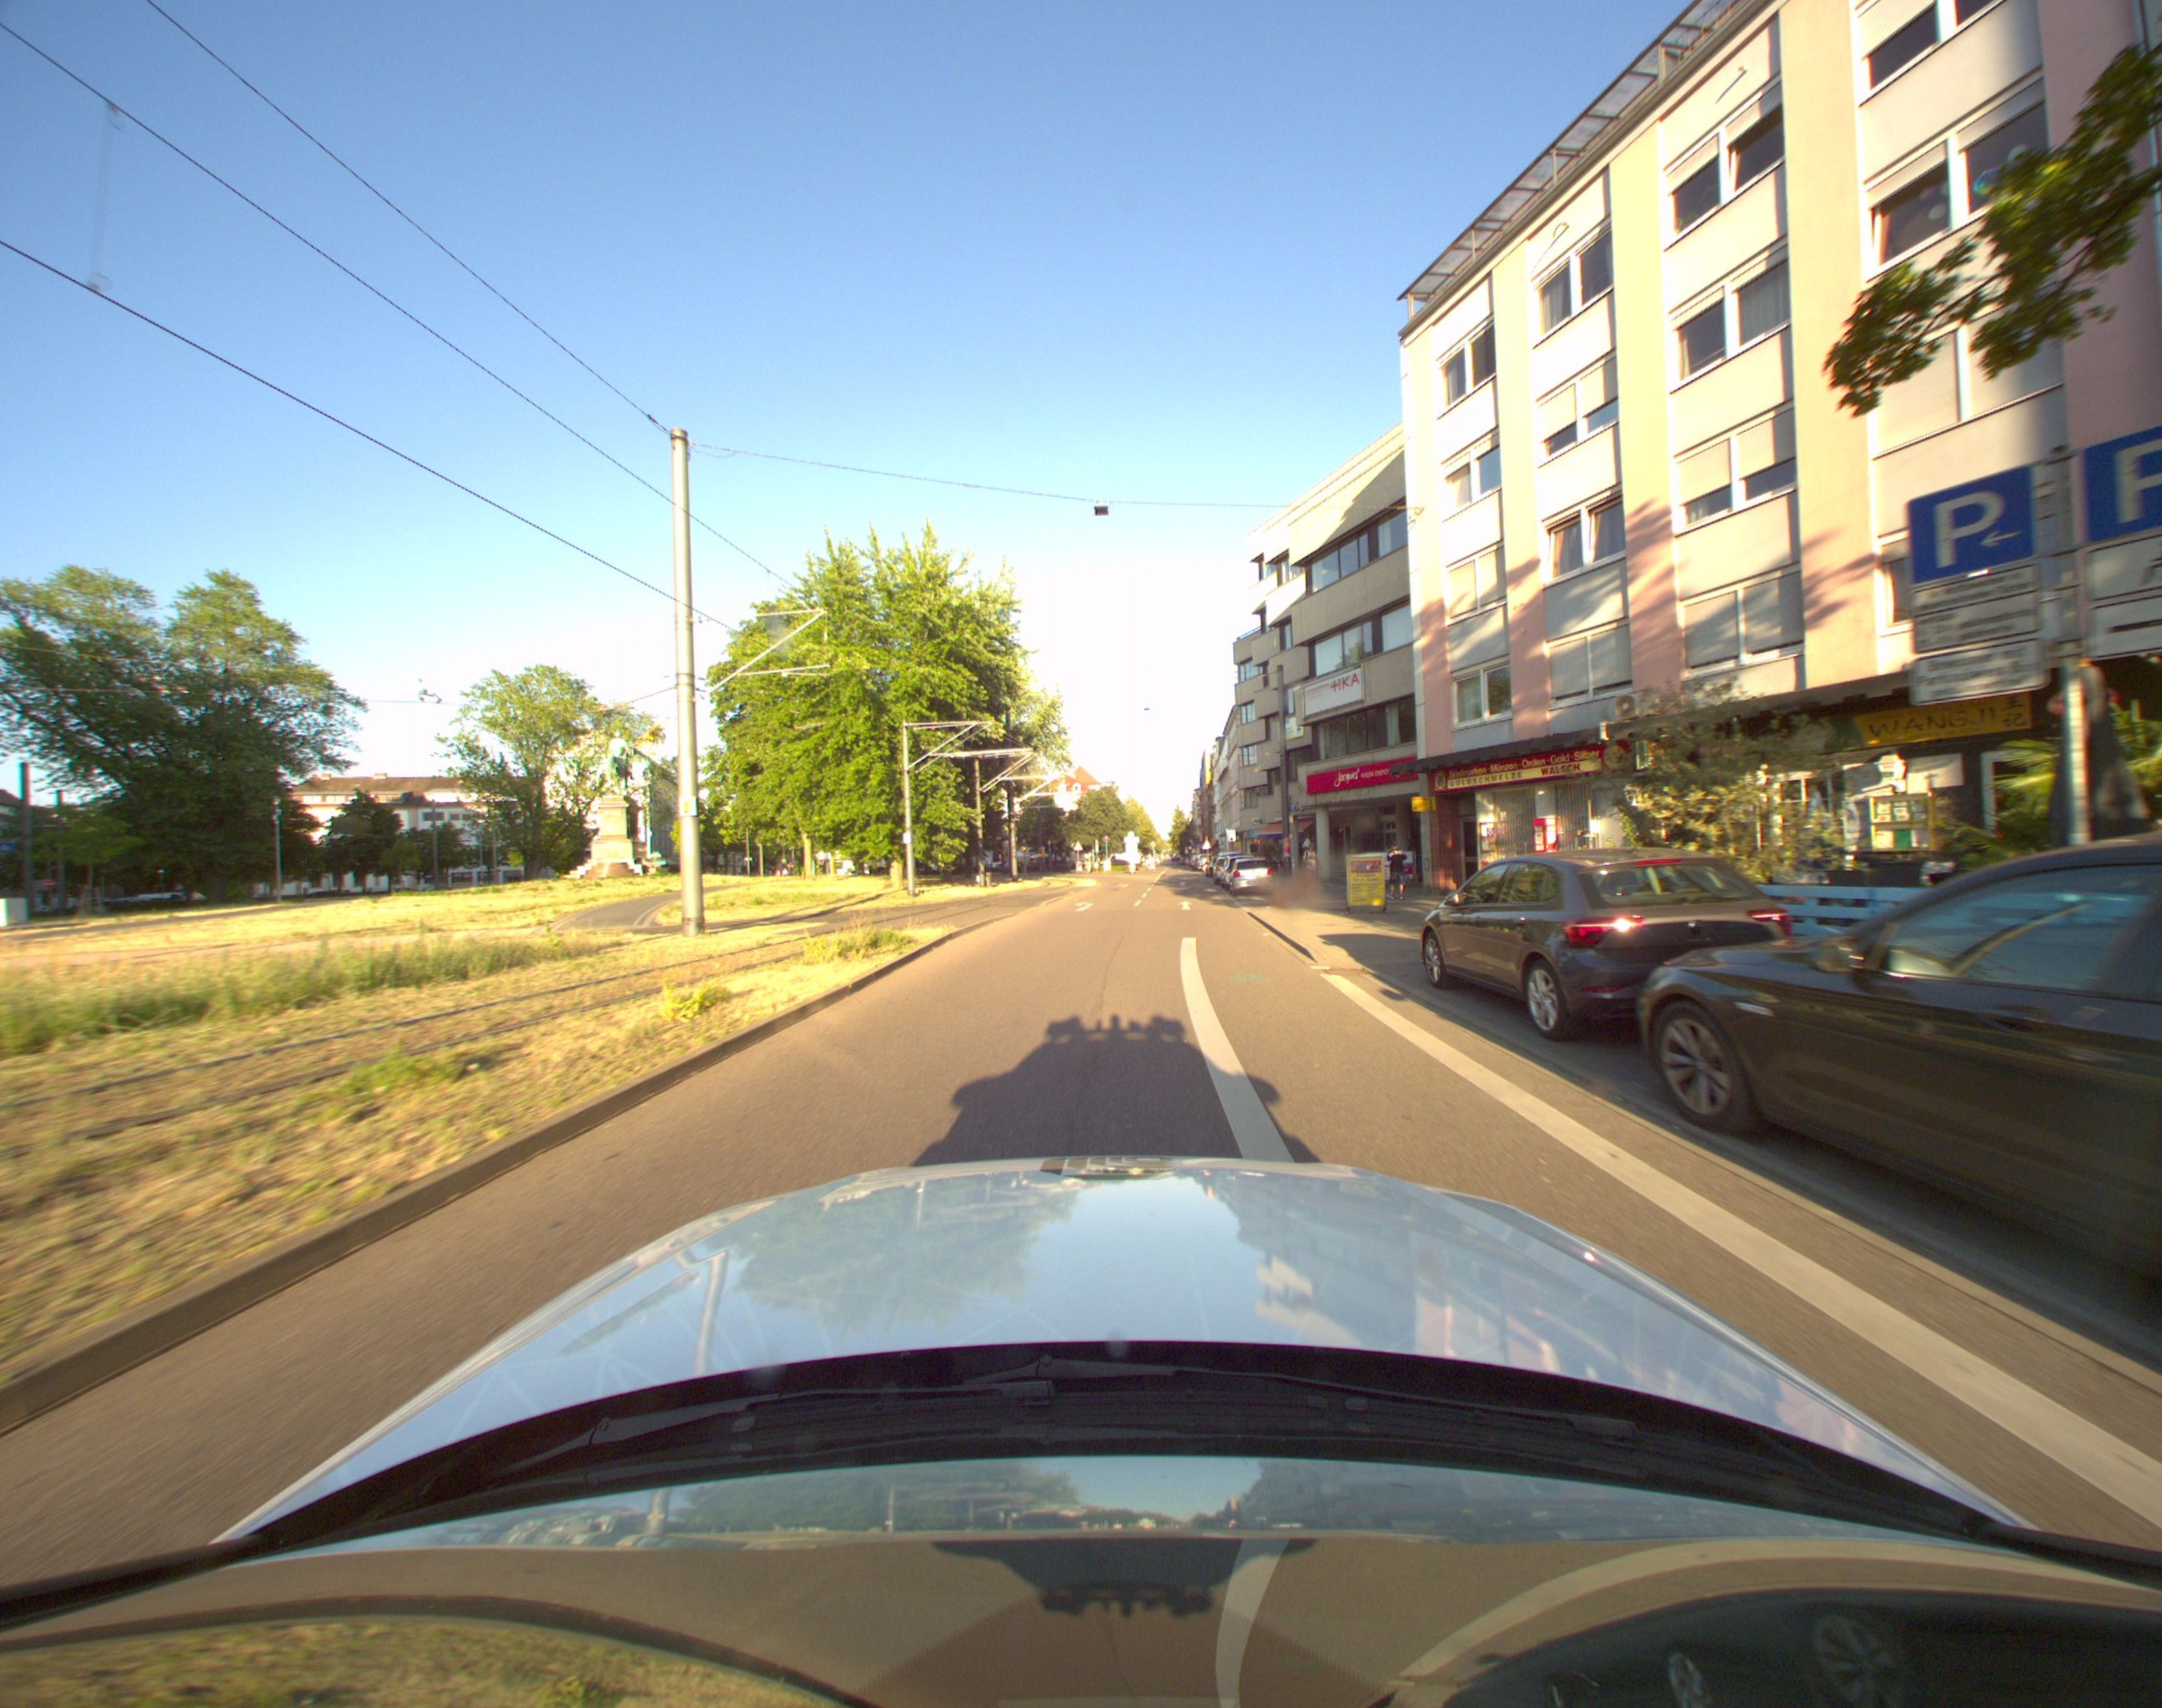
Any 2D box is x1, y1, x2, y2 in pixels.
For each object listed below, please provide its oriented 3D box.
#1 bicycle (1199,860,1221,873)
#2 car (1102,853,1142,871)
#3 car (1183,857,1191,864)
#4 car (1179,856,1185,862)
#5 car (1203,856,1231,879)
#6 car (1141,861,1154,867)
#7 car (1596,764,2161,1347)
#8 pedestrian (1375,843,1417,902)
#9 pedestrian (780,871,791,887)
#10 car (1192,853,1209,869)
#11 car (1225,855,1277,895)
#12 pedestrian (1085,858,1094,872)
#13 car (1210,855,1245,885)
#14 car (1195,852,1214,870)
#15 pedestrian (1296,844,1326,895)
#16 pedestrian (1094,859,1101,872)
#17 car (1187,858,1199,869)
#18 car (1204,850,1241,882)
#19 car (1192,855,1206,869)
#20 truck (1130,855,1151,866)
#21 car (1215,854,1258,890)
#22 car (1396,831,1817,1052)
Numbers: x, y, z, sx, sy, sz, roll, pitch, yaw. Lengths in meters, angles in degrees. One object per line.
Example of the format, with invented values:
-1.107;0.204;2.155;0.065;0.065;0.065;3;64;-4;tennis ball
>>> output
11.718;1.138;73.884;1.770;0.990;0.545;-5;0;29;bicycle
5.229;1.014;104.120;4.615;2.251;2.188;-1;-1;-21;car
22.982;1.407;176.534;1.570;1.543;3.400;-4;-2;4;car
25.848;1.256;208.686;1.201;1.300;2.663;-1;-1;4;car
9.598;0.904;57.521;1.780;1.507;3.929;-1;0;7;car
19.077;2.826;232.818;3.721;1.493;2.003;-2;-1;5;car
4.003;0.560;2.659;1.797;1.670;4.817;-1;0;3;car
9.117;0.531;23.597;0.640;1.627;0.852;-5;1;-17;pedestrian
-36.158;3.028;99.650;0.857;1.840;0.998;-1;1;6;pedestrian
13.361;0.773;91.041;1.648;1.665;4.114;-1;0;6;car
6.787;0.820;32.831;1.775;1.456;4.009;-2;-1;8;car
0.902;1.192;88.126;0.702;1.559;0.688;-1;-1;-31;pedestrian
7.856;0.819;44.015;1.632;1.528;4.008;-1;0;7;car
12.965;0.721;85.698;1.783;1.792;4.099;-2;-1;7;car
8.204;0.554;29.058;0.640;1.786;0.852;-1;0;-17;pedestrian
1.772;1.281;88.565;0.566;1.364;0.608;-1;-1;-31;pedestrian
17.836;1.523;129.587;1.670;1.561;4.010;-4;0;9;car
8.571;0.714;49.571;1.775;1.804;4.407;-1;0;5;car
15.051;1.000;103.729;1.700;1.835;4.315;-1;0;7;car
14.596;1.668;200.161;4.916;2.615;2.003;-2;-1;5;truck
7.187;0.797;37.882;1.577;1.590;3.673;-1;0;5;car
4.461;0.623;7.752;1.642;1.534;4.072;-1;0;5;car
